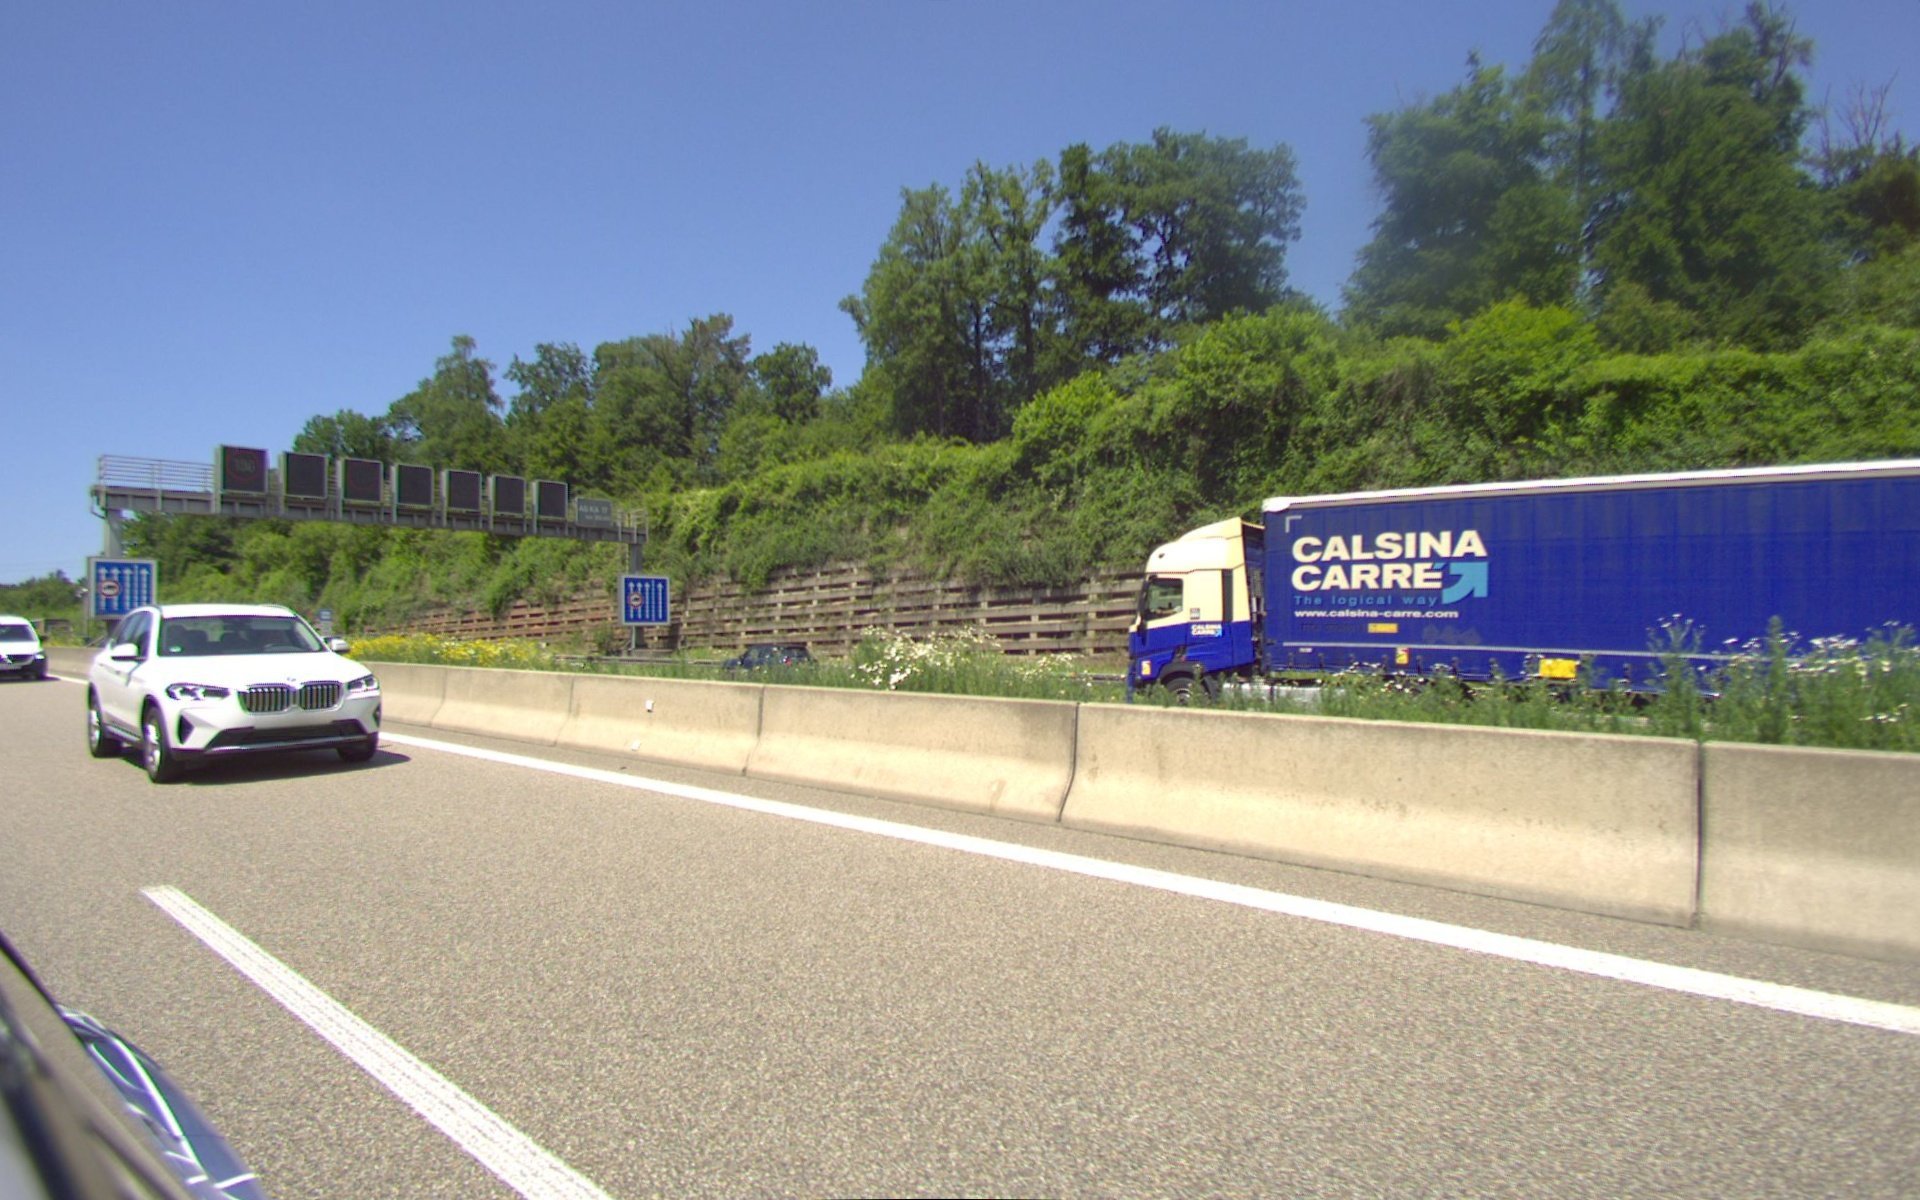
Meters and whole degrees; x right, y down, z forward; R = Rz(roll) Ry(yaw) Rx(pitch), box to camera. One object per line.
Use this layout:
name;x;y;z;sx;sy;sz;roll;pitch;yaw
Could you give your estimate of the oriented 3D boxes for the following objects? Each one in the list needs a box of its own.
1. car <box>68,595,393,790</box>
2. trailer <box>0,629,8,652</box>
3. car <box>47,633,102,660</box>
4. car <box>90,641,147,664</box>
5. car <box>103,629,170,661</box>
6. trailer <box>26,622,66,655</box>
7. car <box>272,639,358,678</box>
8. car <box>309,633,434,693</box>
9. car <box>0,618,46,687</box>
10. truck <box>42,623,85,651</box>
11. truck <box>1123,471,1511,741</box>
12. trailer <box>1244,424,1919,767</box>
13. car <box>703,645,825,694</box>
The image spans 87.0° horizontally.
car;-7.875;0.862;10.762;4.365;1.656;1.826;-3;-1;41
trailer;-179.672;7.480;187.663;13.986;4.132;2.947;-2;-4;41
car;-52.745;2.788;60.266;4.371;1.537;1.878;-3;-4;42
car;-57.238;3.566;68.781;5.882;1.506;1.941;-3;-4;40
car;-41.022;2.258;50.402;4.371;1.537;1.878;-3;-4;42
trailer;-126.309;5.374;139.804;14.467;4.239;2.945;-3;-4;44
car;-26.854;2.432;42.074;4.371;1.537;1.878;-3;-4;42
car;-16.369;1.728;28.062;4.371;1.537;1.709;-3;-4;42
car;-26.849;1.459;27.930;4.500;1.788;1.972;-2;0;42
truck;-97.973;4.095;110.549;7.057;3.016;2.552;-3;-4;41
truck;6.208;0.183;18.117;5.927;4.061;2.652;-2;-2;41
trailer;11.161;-0.007;13.830;14.179;4.046;2.652;-2;-2;41
car;-6.652;2.315;34.166;4.370;1.537;1.766;-3;-4;41
